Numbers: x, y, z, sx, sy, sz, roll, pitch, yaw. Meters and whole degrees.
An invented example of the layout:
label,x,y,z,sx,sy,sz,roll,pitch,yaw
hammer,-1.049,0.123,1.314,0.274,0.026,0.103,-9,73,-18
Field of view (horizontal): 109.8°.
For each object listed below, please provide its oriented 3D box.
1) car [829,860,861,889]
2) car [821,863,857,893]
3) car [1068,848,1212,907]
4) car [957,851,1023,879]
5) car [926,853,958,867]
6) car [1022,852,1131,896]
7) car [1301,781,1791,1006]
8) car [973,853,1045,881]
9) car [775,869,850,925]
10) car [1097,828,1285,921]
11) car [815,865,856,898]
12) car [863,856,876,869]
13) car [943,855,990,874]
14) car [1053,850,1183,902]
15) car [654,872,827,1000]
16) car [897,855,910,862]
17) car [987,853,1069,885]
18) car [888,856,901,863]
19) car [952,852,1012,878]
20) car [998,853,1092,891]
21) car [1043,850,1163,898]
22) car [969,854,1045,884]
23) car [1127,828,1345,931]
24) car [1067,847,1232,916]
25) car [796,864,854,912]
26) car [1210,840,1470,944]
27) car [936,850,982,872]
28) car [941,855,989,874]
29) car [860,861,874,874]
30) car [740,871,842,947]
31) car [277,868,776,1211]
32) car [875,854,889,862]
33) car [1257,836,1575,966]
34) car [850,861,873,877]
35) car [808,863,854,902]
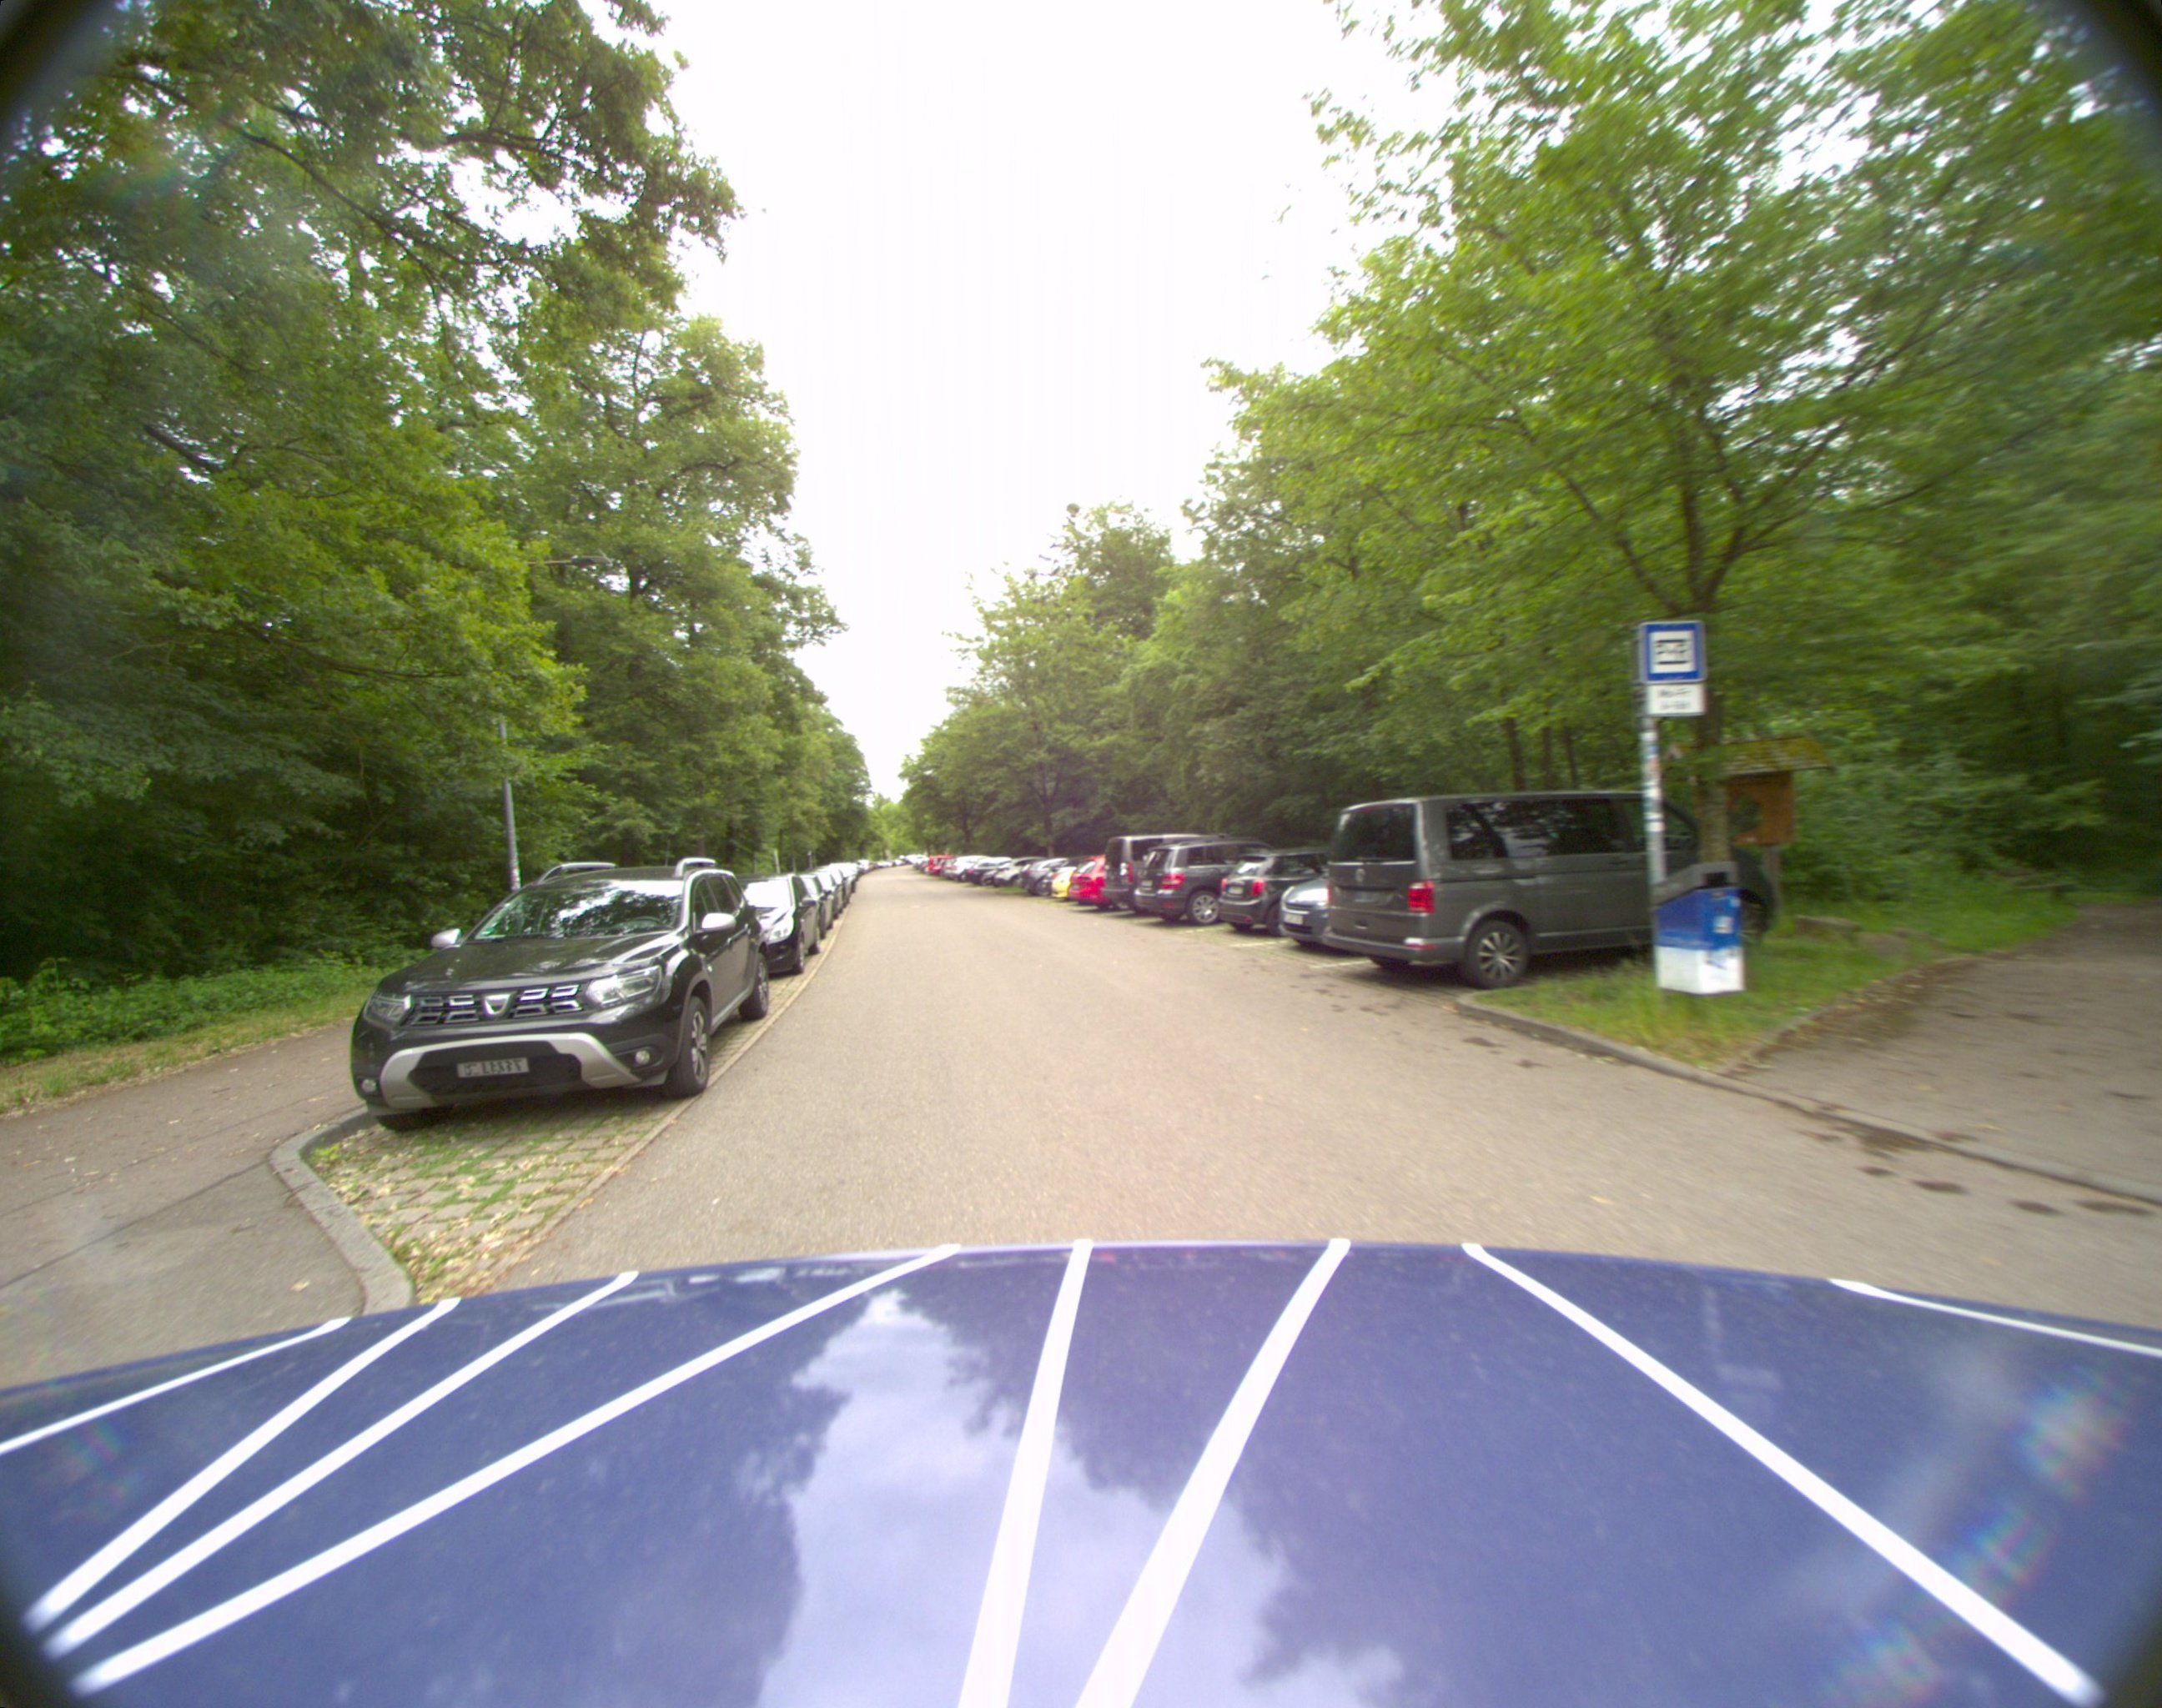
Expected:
label,x,y,z,sx,sy,sz,roll,pitch,yaw
car,-14.921,1.263,48.298,1.743,1.634,5.065,-3,1,-16
car,-13.453,1.304,42.459,1.743,1.465,4.599,-3,1,-16
car,1.781,0.685,23.324,4.002,1.430,1.669,-4,1,-17
car,-5.990,0.721,50.101,4.002,1.652,1.812,-3,0,-16
car,-18.941,0.836,103.377,4.002,1.717,1.711,-3,0,-18
car,-0.197,0.770,30.485,4.001,1.430,1.713,-4,1,-15
car,5.007,0.332,8.417,4.518,1.966,1.889,-3,0,-12
car,-4.308,0.772,45.209,4.001,1.427,1.646,-3,0,-13
car,-8.321,1.259,23.850,1.742,1.423,4.496,-3,1,-14
car,2.624,0.443,18.345,4.001,1.851,1.811,-4,1,-15
car,-12.257,1.333,38.163,1.743,1.417,4.148,-3,1,-16
car,-30.360,1.269,109.241,1.644,1.742,4.049,-3,1,-15
car,-10.548,0.942,69.798,4.002,1.507,1.816,-3,1,-14
car,1.226,0.713,25.644,4.001,1.430,1.616,-4,1,-15
car,-5.193,1.128,12.166,1.742,1.486,4.228,-3,1,-14
car,-38.583,0.926,164.962,1.772,1.308,3.889,-3,1,0
car,-2.802,0.782,40.003,4.001,1.427,1.675,-3,0,-13
car,-38.417,1.102,156.414,1.772,1.307,3.891,-3,-2,0
car,-7.152,0.761,54.789,4.001,1.652,1.812,-3,0,-14
car,-1.671,0.794,35.190,4.002,1.459,1.713,-4,1,-15
car,0.771,0.691,27.921,4.001,1.430,1.731,-4,1,-15
car,-4.184,0.836,42.817,4.001,1.427,1.675,-3,0,-13
car,3.213,0.483,15.984,4.002,1.755,1.821,-4,1,-16
car,1.833,0.699,20.618,4.002,1.467,1.777,-4,1,-17
car,-9.659,1.220,28.947,1.743,1.580,4.376,-3,1,-15
car,4.539,0.608,13.474,4.001,1.422,1.718,-4,1,-14
car,-11.487,0.656,71.598,4.002,1.804,1.815,-3,1,-15
car,-10.223,0.907,66.827,4.001,1.507,1.769,-3,0,-14
car,-29.082,1.817,103.424,1.582,1.611,3.957,-4,1,-13
car,-6.908,1.223,18.534,1.742,1.423,4.496,-3,1,-14
car,-3.815,1.012,6.283,1.742,1.624,4.370,-3,1,-14
car,-36.331,0.738,138.871,1.502,1.470,3.665,-3,1,-1
car,4.737,0.595,10.968,3.828,1.504,1.807,-3,0,-12
car,-26.582,1.819,92.206,1.911,1.713,4.482,-3,1,-8
car,-11.180,1.224,34.137,1.743,1.559,4.002,-3,1,-16
